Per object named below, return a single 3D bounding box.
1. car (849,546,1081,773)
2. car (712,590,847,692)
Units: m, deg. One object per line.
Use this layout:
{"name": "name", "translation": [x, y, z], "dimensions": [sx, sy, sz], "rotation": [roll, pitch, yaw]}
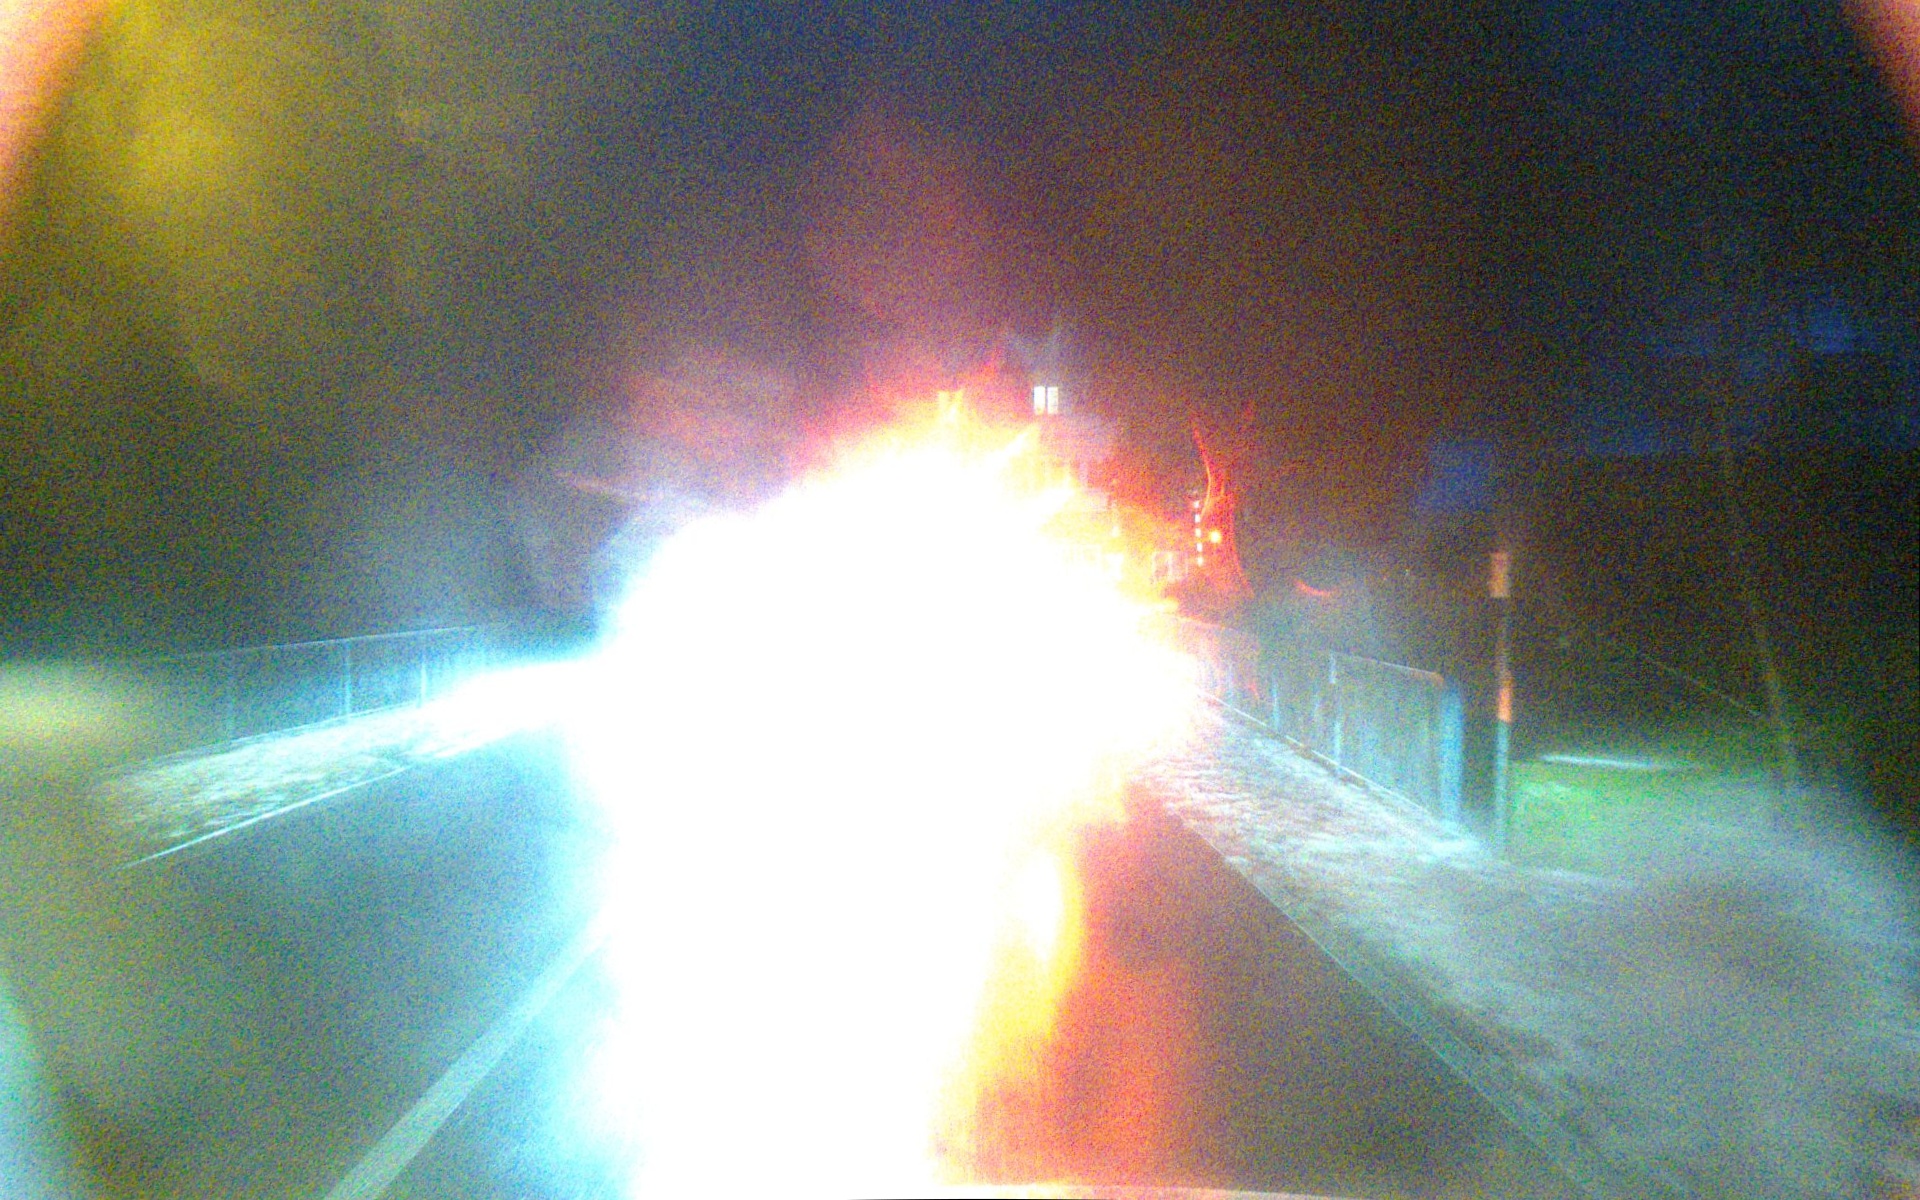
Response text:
{"name": "car", "translation": [0.072, 0.425, 14.544], "dimensions": [1.754, 1.710, 3.905], "rotation": [-1, 1, 1]}
{"name": "car", "translation": [-3.184, 0.702, 29.938], "dimensions": [1.836, 1.572, 4.355], "rotation": [-4, -1, 0]}
